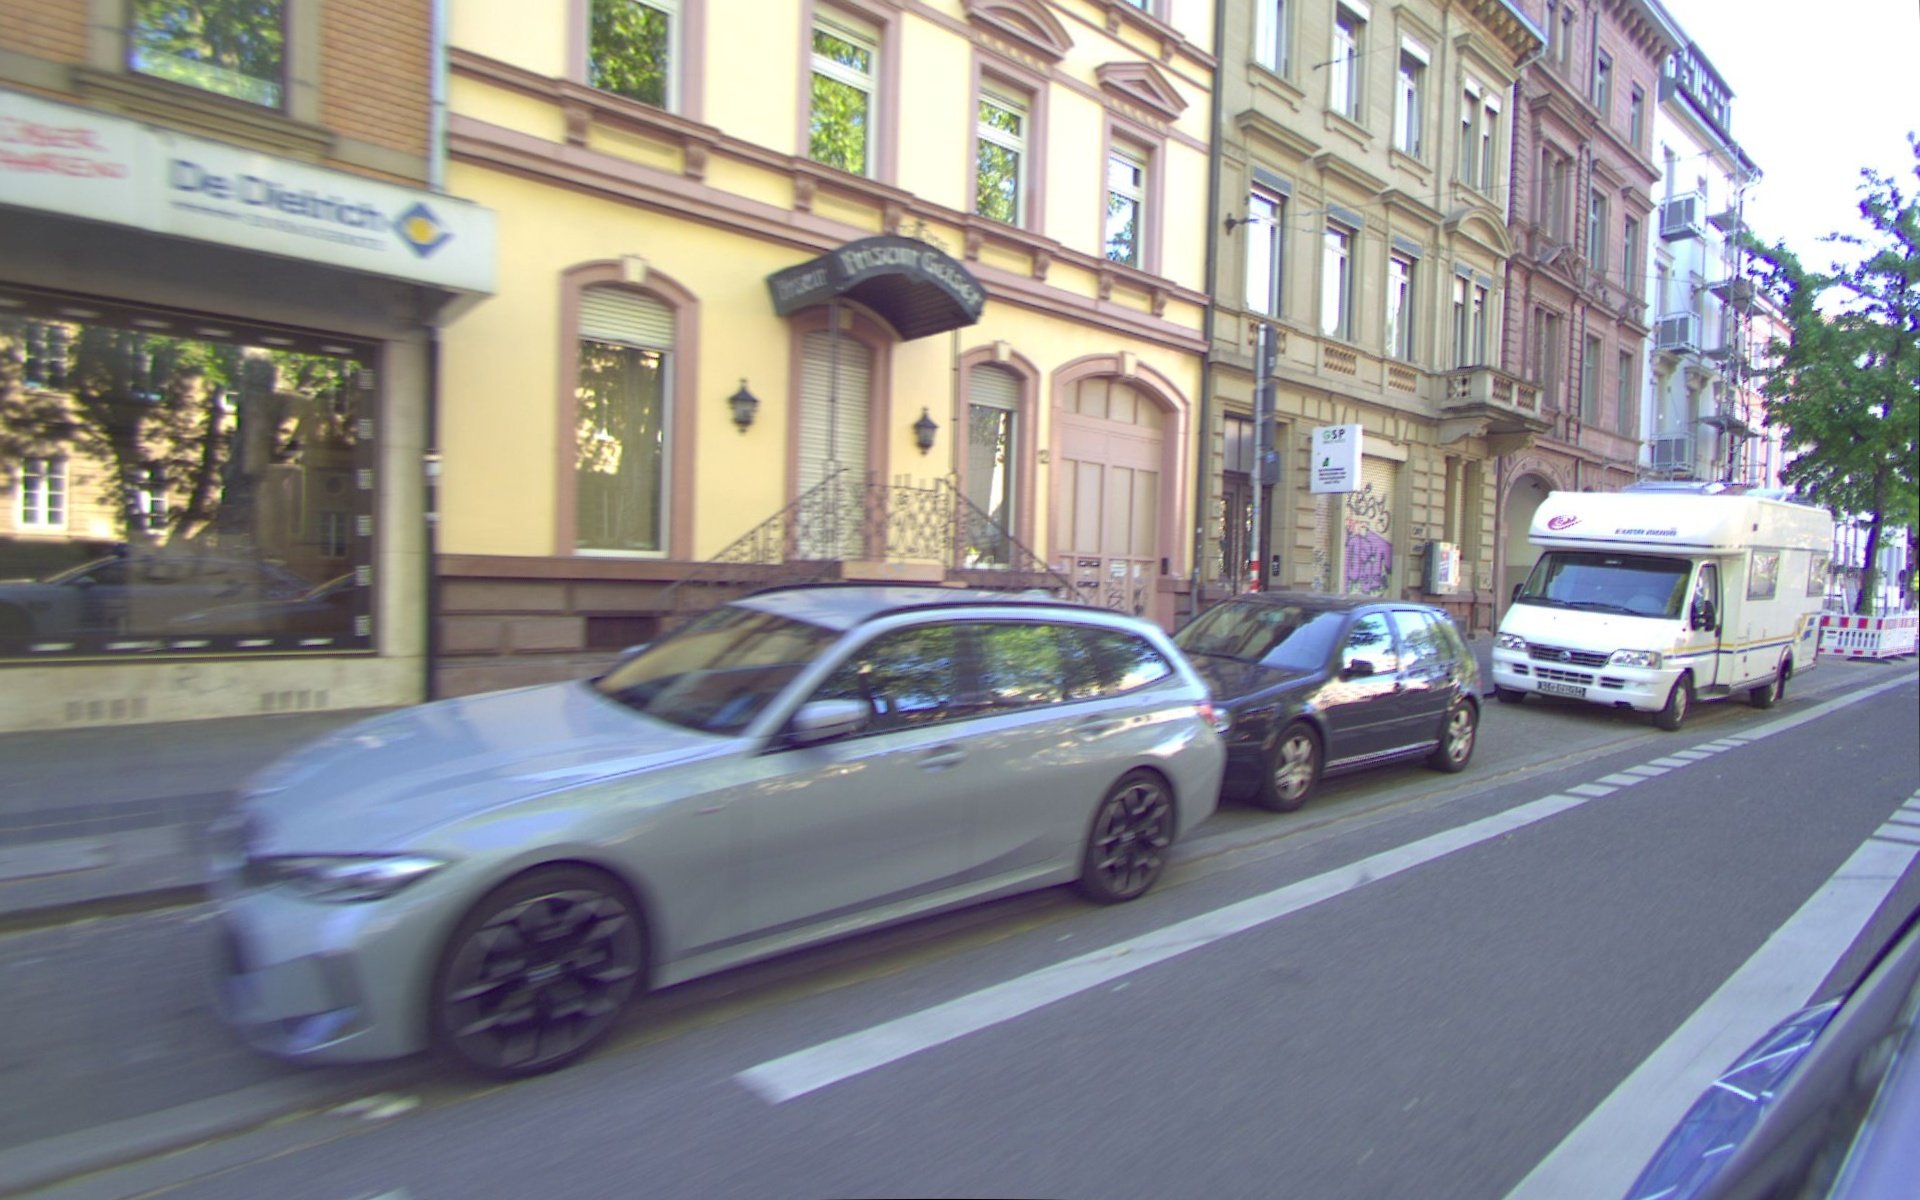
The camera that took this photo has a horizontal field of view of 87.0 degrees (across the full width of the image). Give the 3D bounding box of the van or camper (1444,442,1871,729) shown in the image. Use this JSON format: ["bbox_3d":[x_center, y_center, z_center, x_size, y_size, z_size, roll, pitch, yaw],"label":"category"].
[{"bbox_3d":[9.897,-0.288,13.950,7.741,3.006,2.486,0,6,-39],"label":"van or camper"}]

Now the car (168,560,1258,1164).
[{"bbox_3d":[-0.743,0.612,4.696,4.582,1.452,1.814,-1,4,-40],"label":"car"}]

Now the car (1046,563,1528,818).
[{"bbox_3d":[2.731,0.522,8.056,3.956,1.450,1.650,0,6,-39],"label":"car"}]
